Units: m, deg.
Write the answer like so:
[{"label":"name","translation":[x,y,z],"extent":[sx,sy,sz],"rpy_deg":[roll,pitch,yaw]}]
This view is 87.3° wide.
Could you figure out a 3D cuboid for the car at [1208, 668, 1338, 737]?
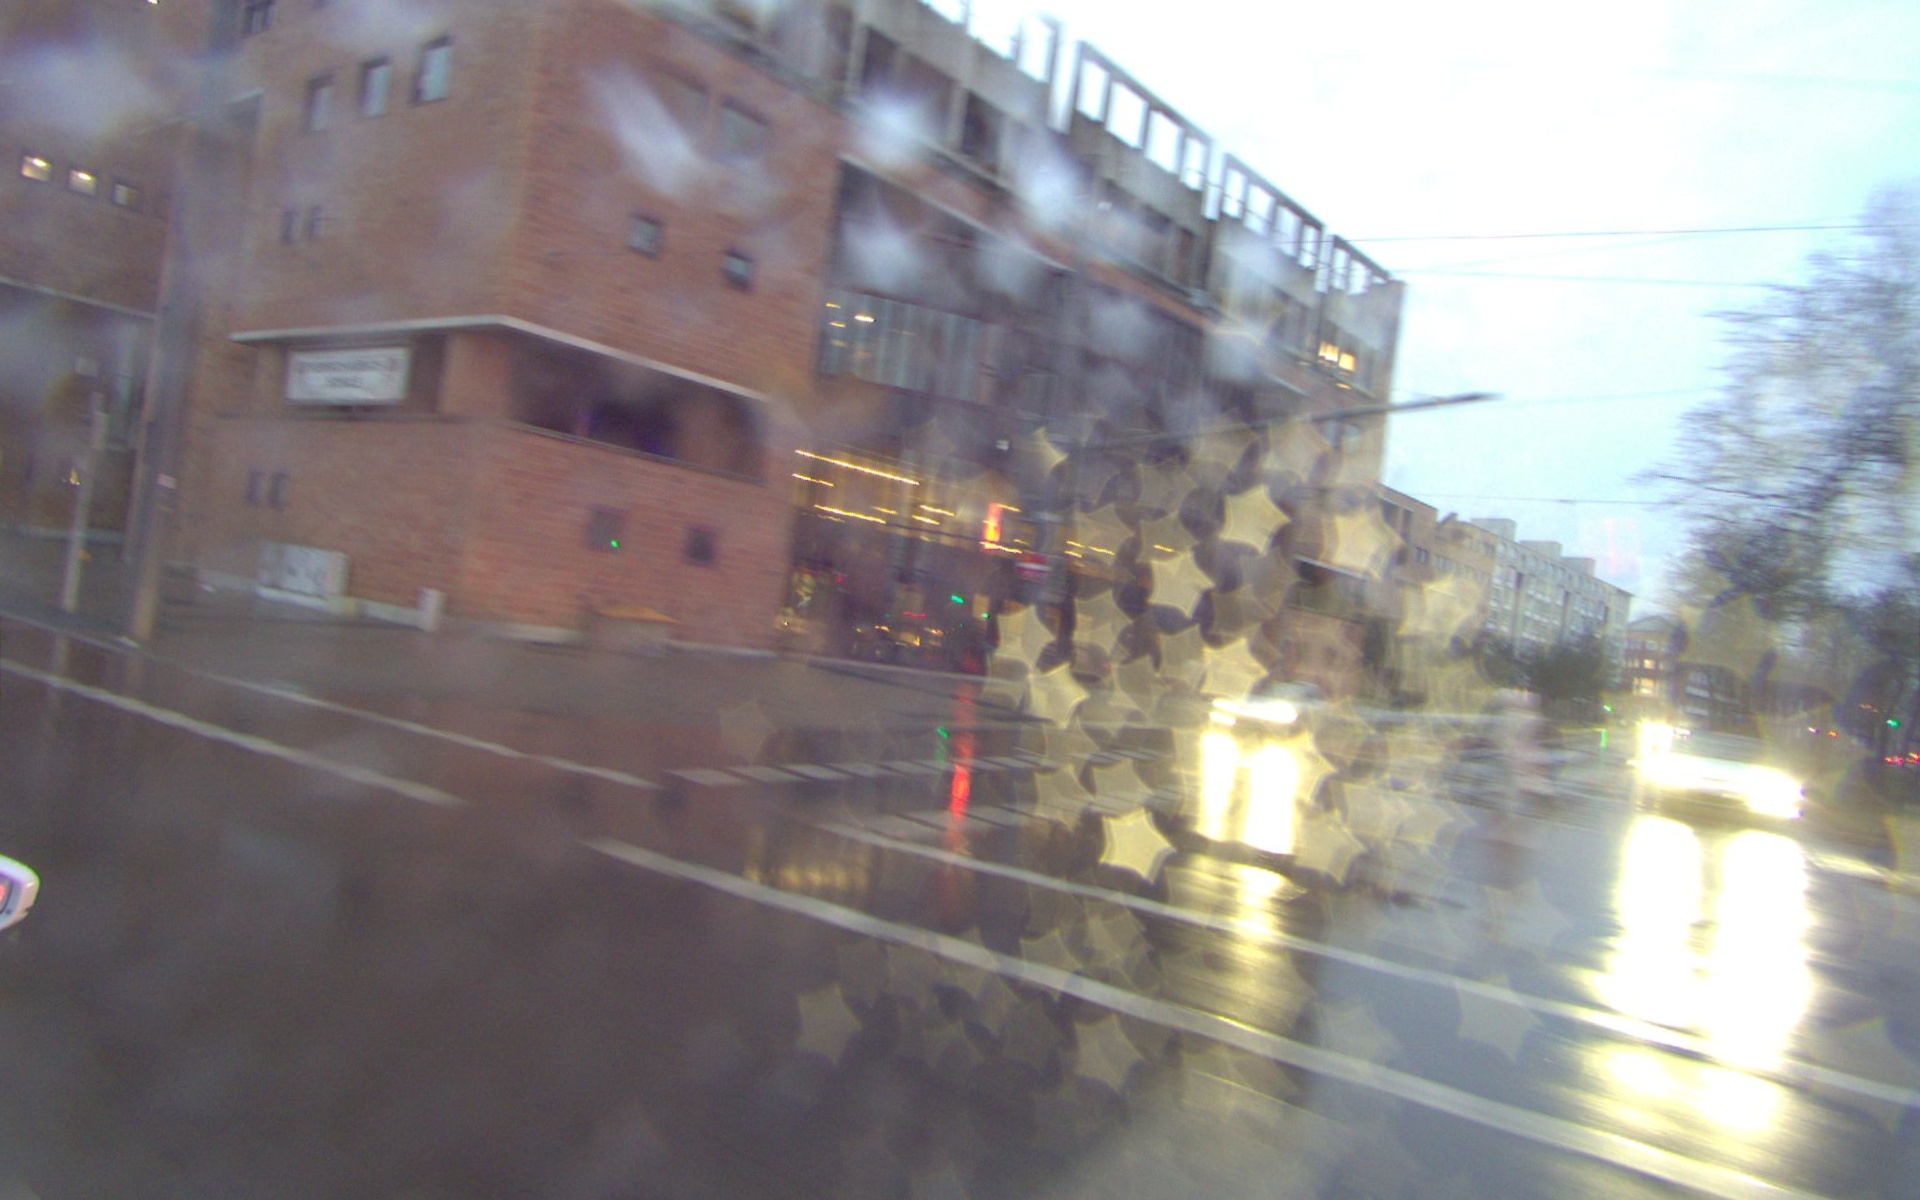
[{"label":"car","translation":[7.876,2.590,25.063],"extent":[1.786,1.325,3.984],"rpy_deg":[7,-2,36]}]

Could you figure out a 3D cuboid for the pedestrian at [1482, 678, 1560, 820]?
[{"label":"pedestrian","translation":[7.822,2.050,14.027],"extent":[0.723,1.808,0.735],"rpy_deg":[7,0,31]}]

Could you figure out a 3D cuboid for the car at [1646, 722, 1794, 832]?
[{"label":"car","translation":[13.469,3.025,17.896],"extent":[1.787,1.358,3.980],"rpy_deg":[7,0,37]}]

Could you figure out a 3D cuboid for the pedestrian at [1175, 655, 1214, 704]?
[{"label":"pedestrian","translation":[7.399,2.506,31.708],"extent":[0.732,1.406,0.730],"rpy_deg":[8,0,-34]}]
